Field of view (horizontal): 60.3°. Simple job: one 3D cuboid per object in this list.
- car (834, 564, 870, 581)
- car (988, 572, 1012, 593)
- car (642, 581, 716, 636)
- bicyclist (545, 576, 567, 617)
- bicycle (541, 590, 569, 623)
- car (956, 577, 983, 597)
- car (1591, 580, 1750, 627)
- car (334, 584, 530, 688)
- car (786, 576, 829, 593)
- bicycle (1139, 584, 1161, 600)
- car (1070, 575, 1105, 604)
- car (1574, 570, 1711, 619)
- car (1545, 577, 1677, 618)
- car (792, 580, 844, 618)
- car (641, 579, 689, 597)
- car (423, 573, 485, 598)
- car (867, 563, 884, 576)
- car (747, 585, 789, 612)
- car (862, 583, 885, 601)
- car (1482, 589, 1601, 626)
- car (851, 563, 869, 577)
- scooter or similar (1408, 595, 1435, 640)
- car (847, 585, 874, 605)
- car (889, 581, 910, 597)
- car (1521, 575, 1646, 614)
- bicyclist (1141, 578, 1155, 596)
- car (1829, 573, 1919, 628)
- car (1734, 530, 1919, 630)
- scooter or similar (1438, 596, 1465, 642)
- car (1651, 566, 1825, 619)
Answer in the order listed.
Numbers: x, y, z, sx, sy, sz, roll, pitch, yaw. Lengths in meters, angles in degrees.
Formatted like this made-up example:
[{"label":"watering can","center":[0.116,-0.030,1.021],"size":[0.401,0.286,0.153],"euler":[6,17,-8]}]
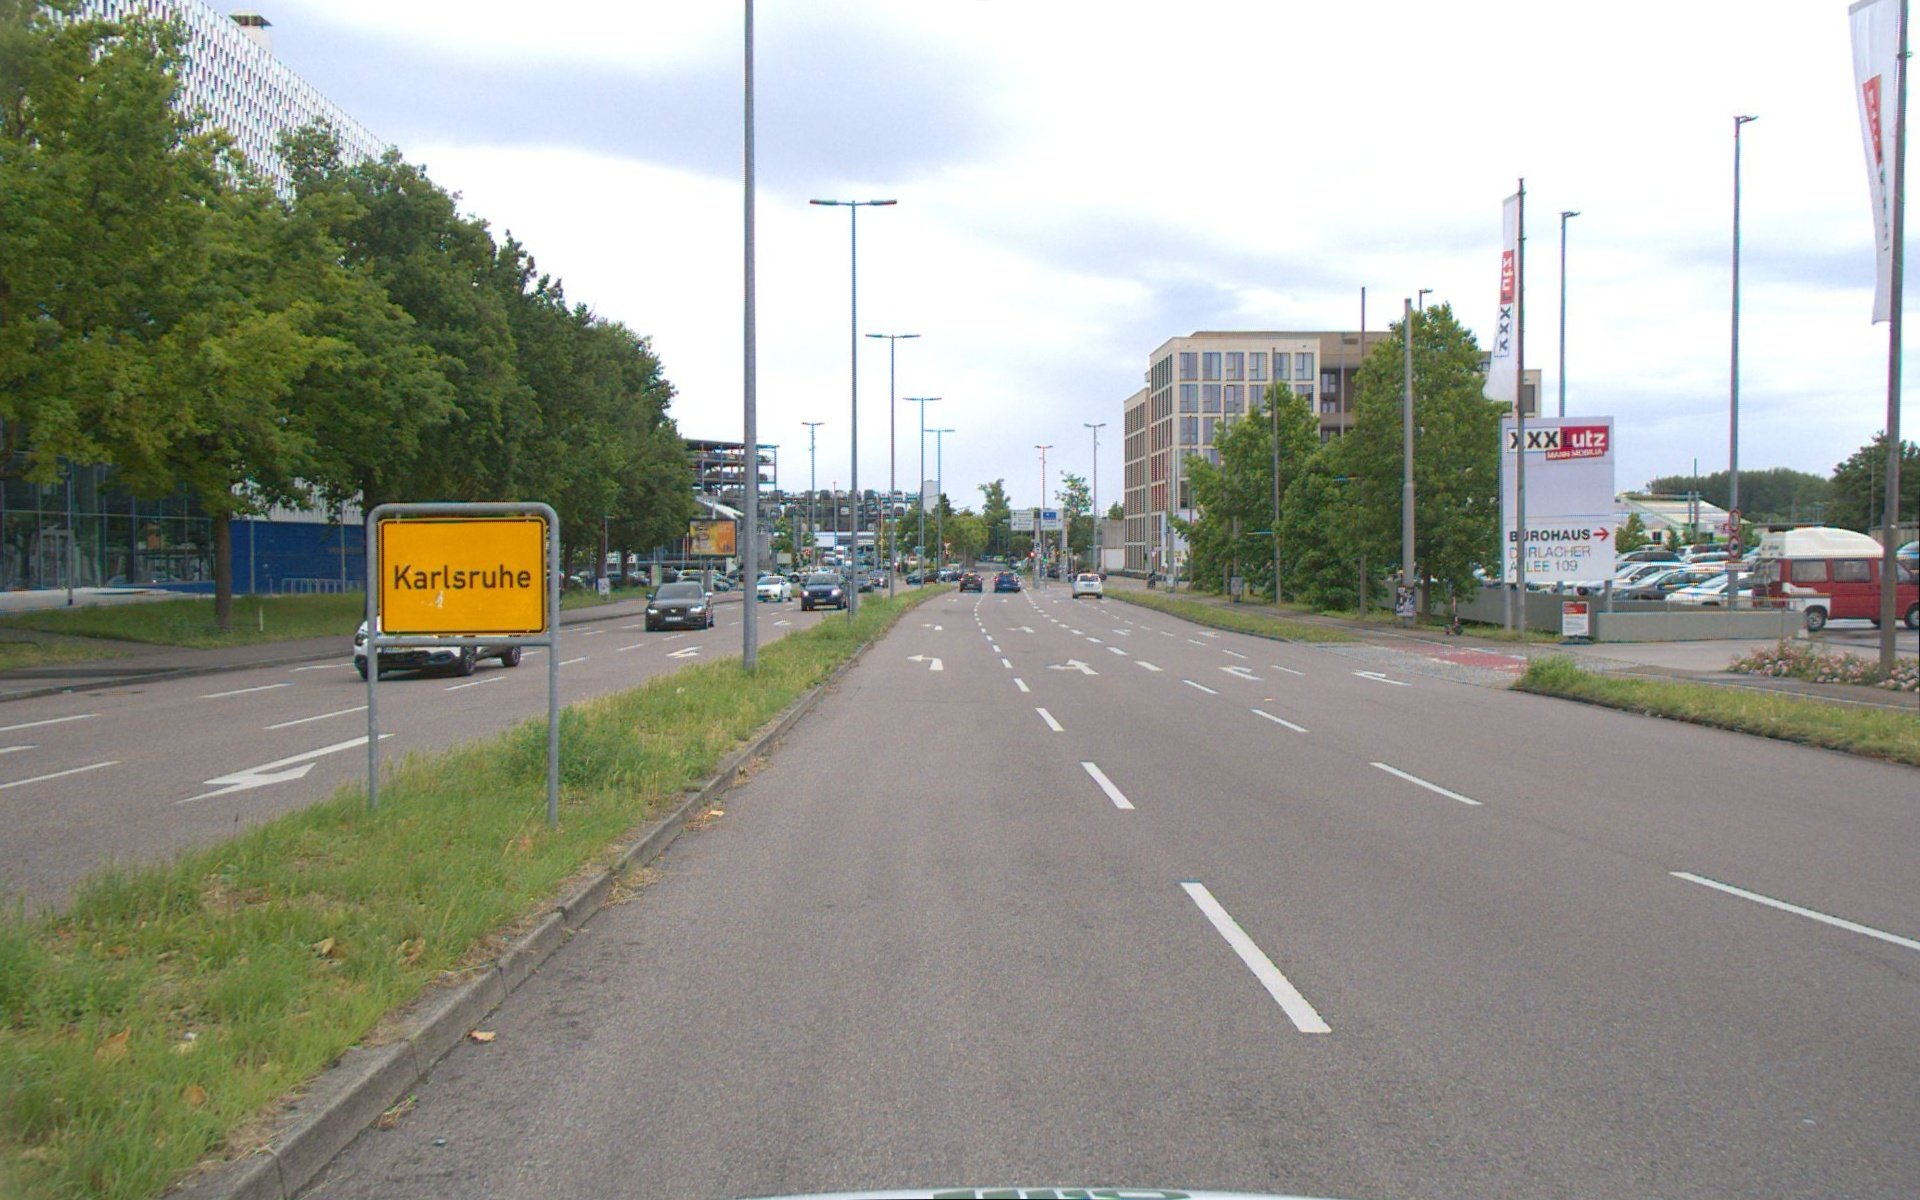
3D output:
[{"label":"car","center":[-11.852,-2.998,182.044],"size":[3.908,1.821,1.846],"euler":[0,3,-4]},{"label":"car","center":[3.008,-1.356,125.366],"size":[1.797,1.541,4.000],"euler":[0,1,0]},{"label":"car","center":[-8.474,0.222,50.206],"size":[1.847,1.461,4.427],"euler":[-3,1,-6]},{"label":"bicyclist","center":[-16.363,-0.148,66.953],"size":[0.627,1.605,1.000],"euler":[1,1,-1]},{"label":"bicycle","center":[-16.390,0.237,66.938],"size":[0.629,1.272,2.056],"euler":[1,1,-1]},{"label":"car","center":[0.666,-0.954,124.316],"size":[1.947,1.453,4.240],"euler":[0,0,-1]},{"label":"car","center":[23.168,0.095,54.033],"size":[4.373,1.443,1.868],"euler":[0,3,1]},{"label":"car","center":[-8.856,0.559,28.135],"size":[1.891,1.545,4.182],"euler":[-3,0,0]},{"label":"car","center":[-15.427,-1.528,167.404],"size":[4.331,1.689,1.998],"euler":[0,0,-6]},{"label":"bicycle","center":[15.871,-0.656,138.463],"size":[0.694,1.318,1.986],"euler":[0,1,-35]},{"label":"car","center":[7.922,-0.679,103.194],"size":[1.952,1.782,4.181],"euler":[0,1,2]},{"label":"car","center":[23.290,-0.197,56.532],"size":[3.970,1.567,1.765],"euler":[0,3,1]},{"label":"car","center":[23.179,-0.104,59.012],"size":[3.972,1.373,1.835],"euler":[0,3,-1]},{"label":"car","center":[-6.068,-0.072,71.084],"size":[1.892,1.512,4.438],"euler":[-2,1,-1]},{"label":"car","center":[-27.880,-1.108,156.388],"size":[4.331,1.689,1.998],"euler":[0,0,-6]},{"label":"car","center":[-45.927,-1.323,150.280],"size":[5.030,1.997,1.880],"euler":[-1,5,-4]},{"label":"car","center":[-11.511,-4.164,226.213],"size":[1.738,1.735,3.920],"euler":[0,3,6]},{"label":"car","center":[-10.877,-0.088,93.874],"size":[1.828,1.479,4.168],"euler":[-2,0,0]},{"label":"car","center":[-7.438,-0.703,142.528],"size":[1.743,1.481,4.182],"euler":[-2,1,0]},{"label":"car","center":[22.991,0.275,65.454],"size":[4.068,1.373,1.810],"euler":[0,3,-1]},{"label":"car","center":[-13.657,-4.148,226.201],"size":[1.738,1.735,3.920],"euler":[0,3,6]},{"label":"scooter or similar","center":[15.154,0.577,54.333],"size":[0.636,1.446,1.820],"euler":[-1,0,8]},{"label":"car","center":[-7.485,-0.376,125.026],"size":[1.735,1.477,4.405],"euler":[-2,0,0]},{"label":"car","center":[-5.876,-1.103,159.344],"size":[1.893,1.481,4.179],"euler":[0,1,-4]},{"label":"car","center":[23.221,-0.229,61.691],"size":[3.972,1.373,1.764],"euler":[0,3,-1]},{"label":"bicyclist","center":[15.743,-1.095,138.638],"size":[0.694,1.530,0.988],"euler":[0,1,-35]},{"label":"car","center":[32.540,0.007,56.936],"size":[4.222,1.774,1.890],"euler":[0,2,2]},{"label":"car","center":[23.681,-0.569,44.546],"size":[4.625,2.623,2.171],"euler":[0,3,1]},{"label":"scooter or similar","center":[13.659,0.517,45.994],"size":[0.362,1.211,1.248],"euler":[-1,1,0]},{"label":"car","center":[23.214,-0.248,49.456],"size":[4.284,1.486,1.962],"euler":[0,3,1]}]
